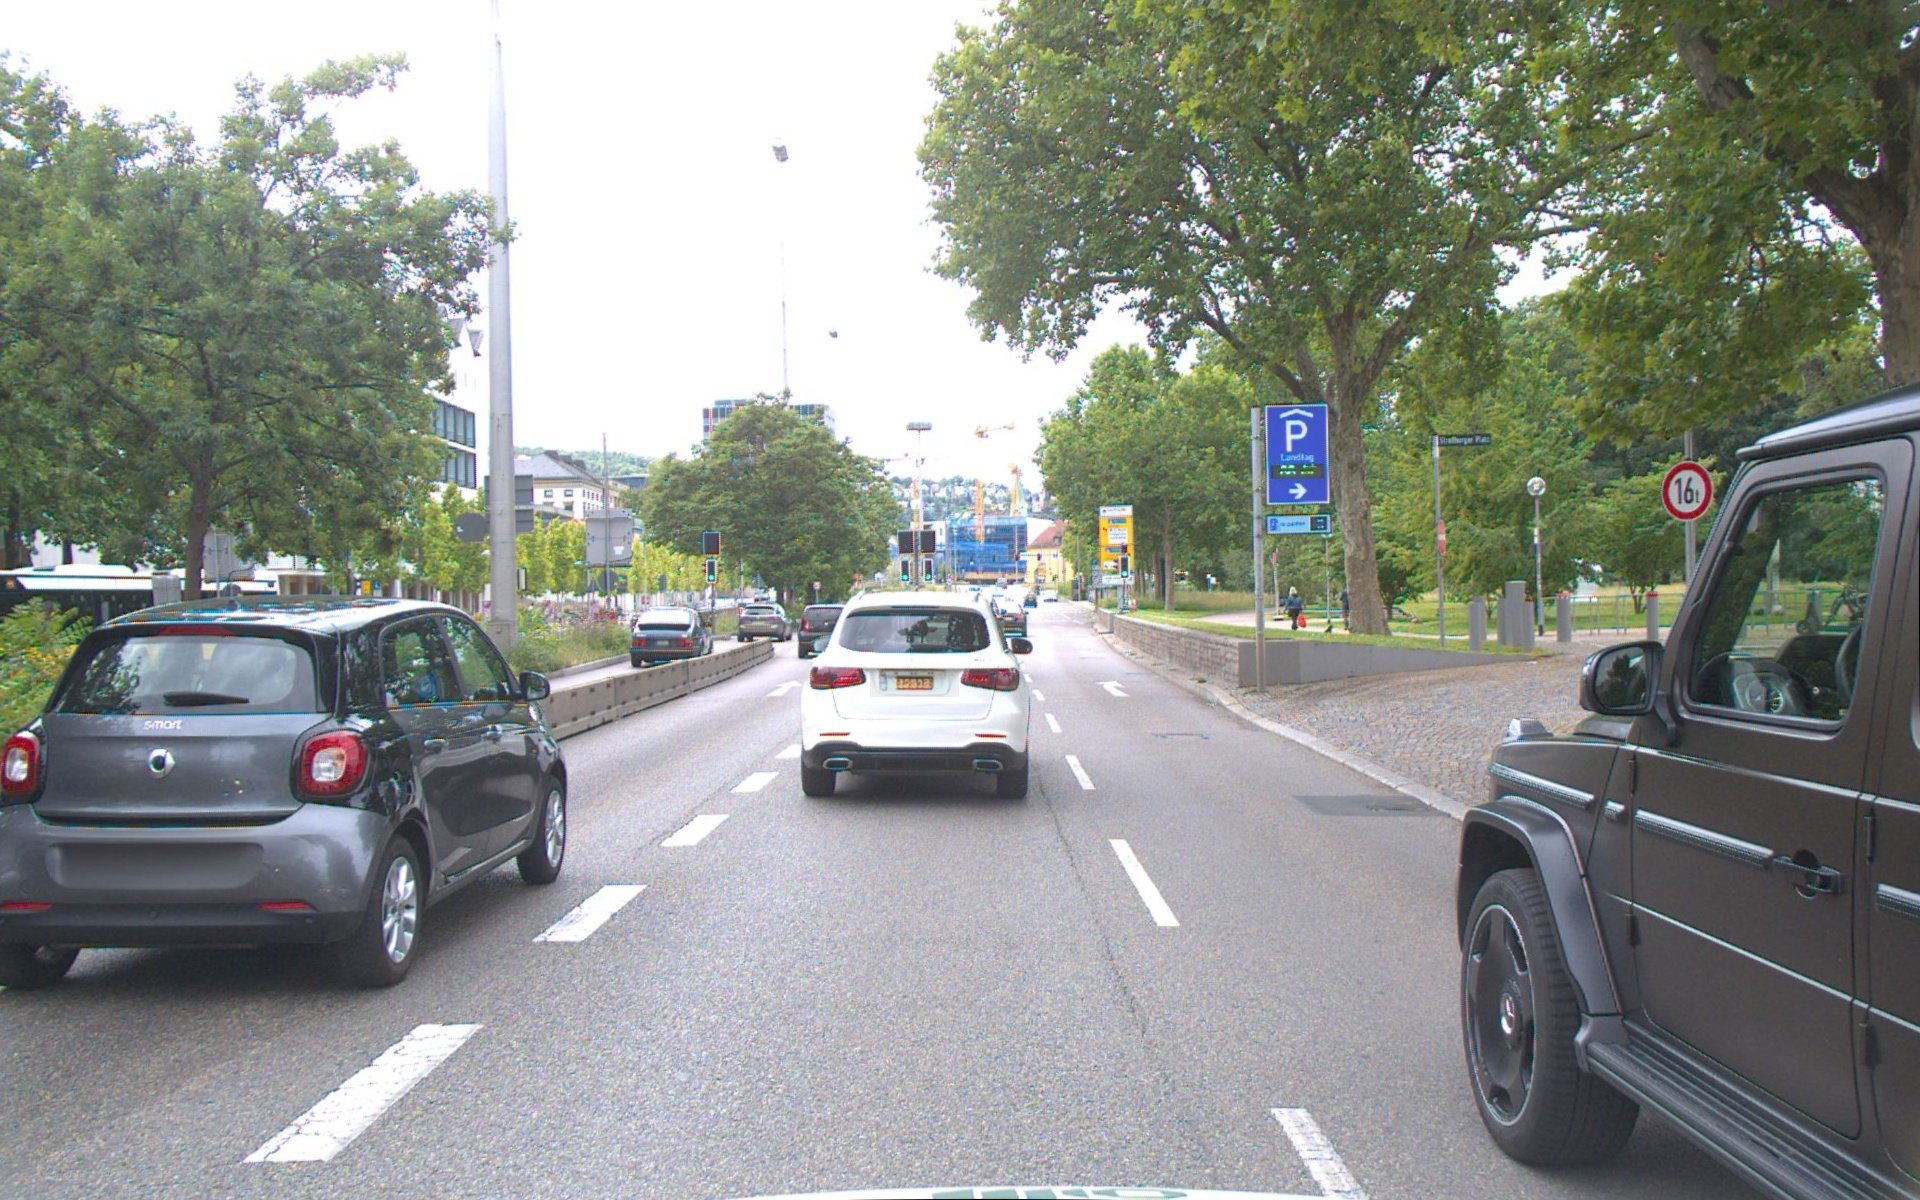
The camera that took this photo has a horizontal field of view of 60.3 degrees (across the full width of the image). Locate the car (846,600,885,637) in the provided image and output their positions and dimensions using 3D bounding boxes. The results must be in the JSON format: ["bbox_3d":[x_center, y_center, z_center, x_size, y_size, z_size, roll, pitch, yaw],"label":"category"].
[{"bbox_3d":[-4.318,0.836,76.034,1.684,1.612,3.998,1,0,-2],"label":"car"}]

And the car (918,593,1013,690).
[{"bbox_3d":[0.138,0.770,30.929,1.638,1.656,4.000,1,-1,1],"label":"car"}]

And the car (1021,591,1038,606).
[{"bbox_3d":[7.971,-0.148,190.729,1.684,1.612,3.999,1,0,-1],"label":"car"}]

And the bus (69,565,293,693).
[{"bbox_3d":[-22.344,0.791,47.999,2.863,3.361,7.705,-1,0,0],"label":"bus"}]

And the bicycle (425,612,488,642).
[{"bbox_3d":[-31.385,1.676,103.149,3.539,1.713,1.183,-2,0,-1],"label":"bicycle"}]

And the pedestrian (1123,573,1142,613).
[{"bbox_3d":[7.391,-0.283,70.843,0.683,1.685,0.684,1,-1,0],"label":"pedestrian"}]

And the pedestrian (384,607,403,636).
[{"bbox_3d":[-31.867,1.213,93.043,0.875,1.584,0.589,-1,-1,-42],"label":"pedestrian"}]

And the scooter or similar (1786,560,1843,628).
[{"bbox_3d":[16.318,-0.110,31.583,0.701,1.268,0.728,1,-1,-1],"label":"scooter or similar"}]

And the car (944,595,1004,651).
[{"bbox_3d":[0.399,0.680,50.991,1.684,1.612,3.999,1,0,-1],"label":"car"}]

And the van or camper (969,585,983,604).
[{"bbox_3d":[2.087,-0.704,217.616,1.883,2.360,3.999,0,-2,0],"label":"van or camper"}]

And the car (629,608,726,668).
[{"bbox_3d":[-6.716,0.877,39.694,1.684,1.315,3.999,1,0,-1],"label":"car"}]

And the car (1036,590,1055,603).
[{"bbox_3d":[11.397,-0.460,221.011,1.954,1.646,3.996,1,-1,-4],"label":"car"}]

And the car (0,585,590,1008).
[{"bbox_3d":[-2.958,0.741,7.805,1.594,1.535,3.539,0,-1,0],"label":"car"}]

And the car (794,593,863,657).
[{"bbox_3d":[-3.692,0.695,47.036,1.684,1.708,3.999,1,0,-1],"label":"car"}]

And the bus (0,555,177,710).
[{"bbox_3d":[-22.309,0.754,38.914,2.853,3.363,10.448,-1,0,-1],"label":"bus"}]

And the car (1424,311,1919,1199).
[{"bbox_3d":[2.499,0.519,2.901,1.937,1.926,4.705,1,-1,-1],"label":"car"}]

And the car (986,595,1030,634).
[{"bbox_3d":[2.038,0.631,71.732,1.684,1.612,3.999,1,0,-1],"label":"car"}]

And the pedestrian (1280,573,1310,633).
[{"bbox_3d":[11.574,0.105,57.210,0.838,2.049,0.815,1,-2,-2],"label":"pedestrian"}]

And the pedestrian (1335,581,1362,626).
[{"bbox_3d":[13.554,0.113,57.739,0.770,1.553,0.683,1,-1,1],"label":"pedestrian"}]

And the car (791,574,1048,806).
[{"bbox_3d":[-0.347,0.705,14.467,1.901,1.713,3.999,1,-1,-1],"label":"car"}]

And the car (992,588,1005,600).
[{"bbox_3d":[5.700,-0.854,243.243,1.684,1.612,3.999,1,0,-1],"label":"car"}]

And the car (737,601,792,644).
[{"bbox_3d":[-7.653,0.856,65.094,1.717,1.581,3.999,1,0,-1],"label":"car"}]
